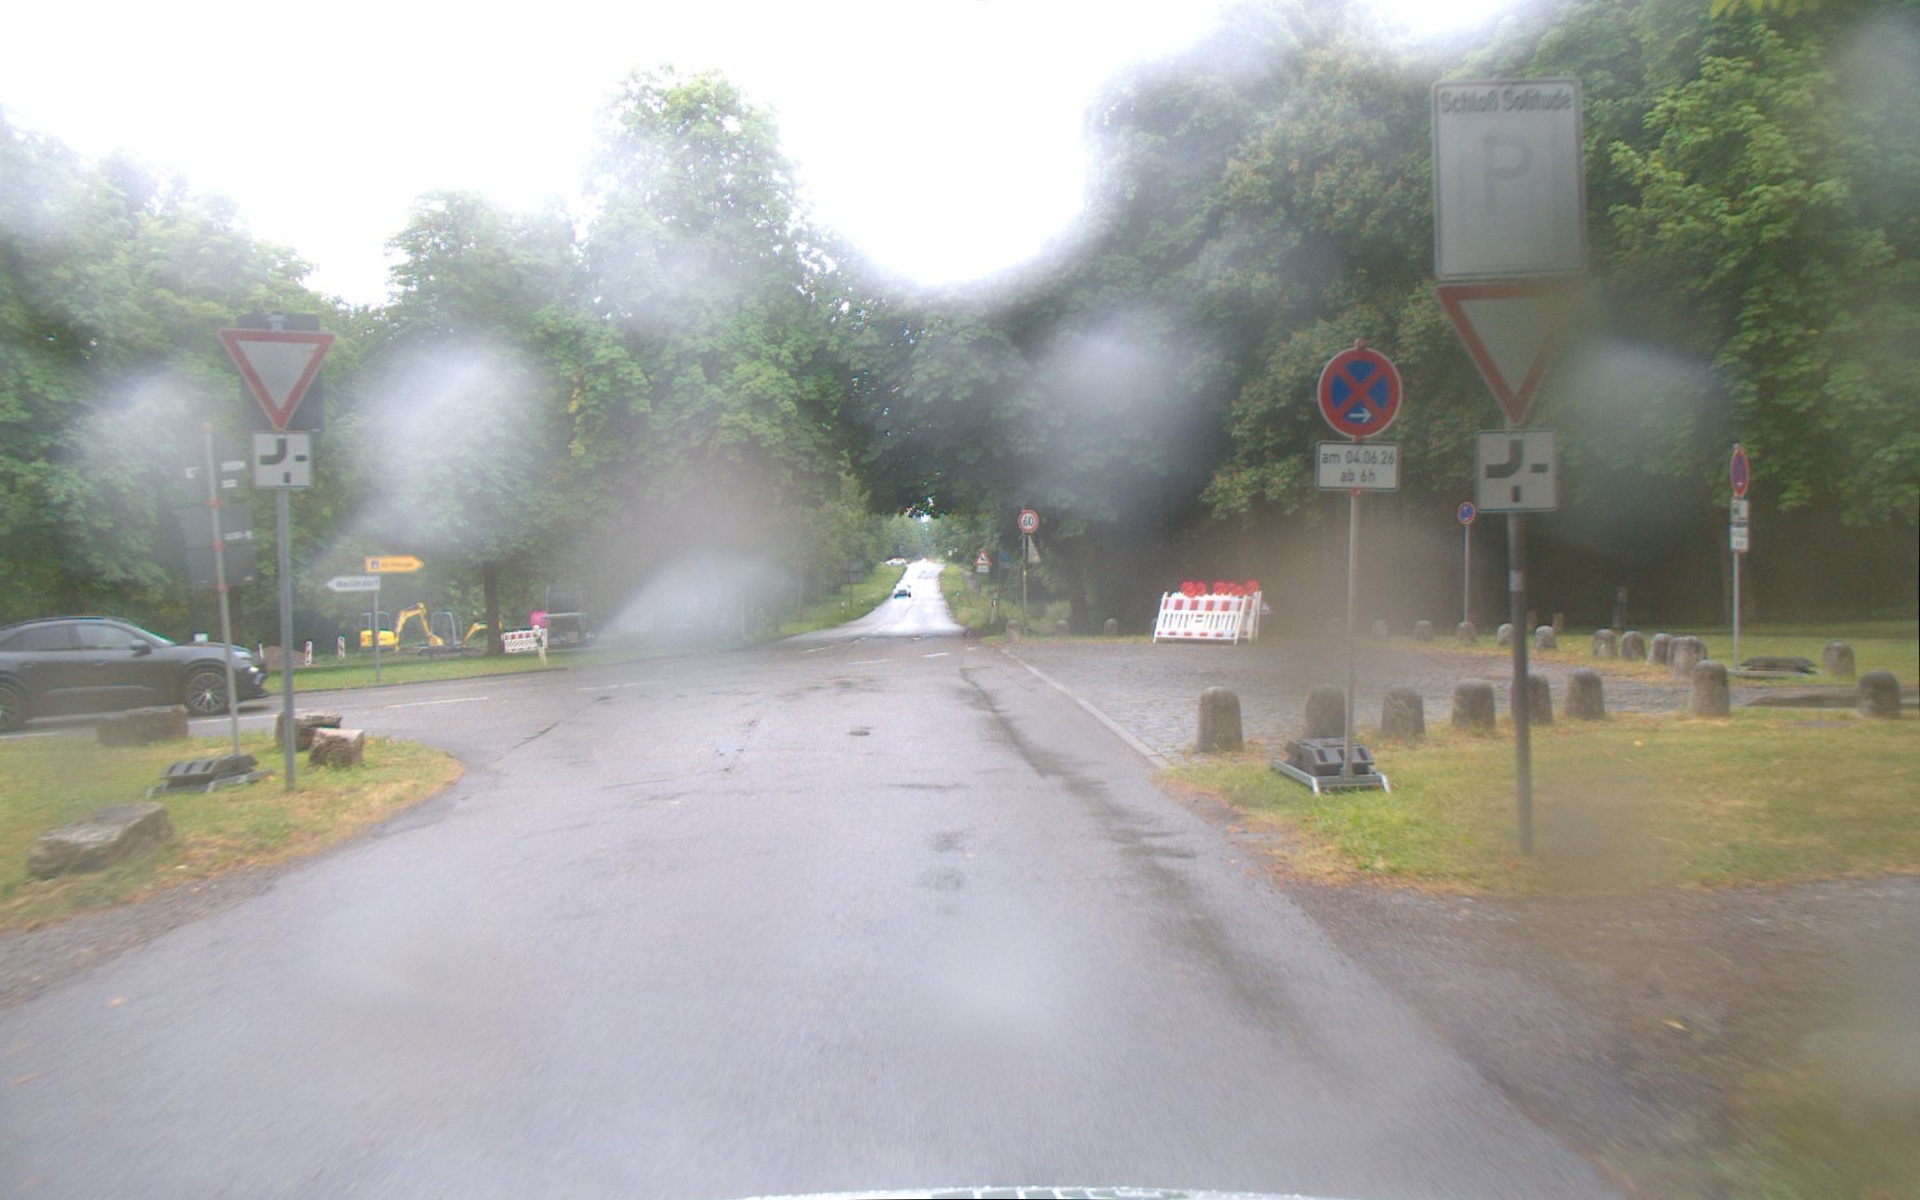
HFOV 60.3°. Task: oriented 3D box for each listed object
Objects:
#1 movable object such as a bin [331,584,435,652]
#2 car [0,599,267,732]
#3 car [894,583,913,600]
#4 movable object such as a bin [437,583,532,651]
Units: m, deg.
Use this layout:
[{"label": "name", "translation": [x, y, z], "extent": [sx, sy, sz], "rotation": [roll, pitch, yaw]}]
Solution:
[{"label": "movable object such as a bin", "translation": [-30.615, 0.926, 87.983], "extent": [4.574, 3.351, 3.902], "rotation": [-3, 0, -12]}, {"label": "car", "translation": [-13.383, 1.001, 25.973], "extent": [4.502, 1.738, 1.718], "rotation": [-4, 1, -24]}, {"label": "car", "translation": [-6.269, -0.982, 183.206], "extent": [1.953, 1.746, 3.999], "rotation": [-2, 1, -1]}, {"label": "movable object such as a bin", "translation": [-25.727, 0.894, 89.724], "extent": [4.502, 3.351, 3.655], "rotation": [-3, 0, -12]}]
